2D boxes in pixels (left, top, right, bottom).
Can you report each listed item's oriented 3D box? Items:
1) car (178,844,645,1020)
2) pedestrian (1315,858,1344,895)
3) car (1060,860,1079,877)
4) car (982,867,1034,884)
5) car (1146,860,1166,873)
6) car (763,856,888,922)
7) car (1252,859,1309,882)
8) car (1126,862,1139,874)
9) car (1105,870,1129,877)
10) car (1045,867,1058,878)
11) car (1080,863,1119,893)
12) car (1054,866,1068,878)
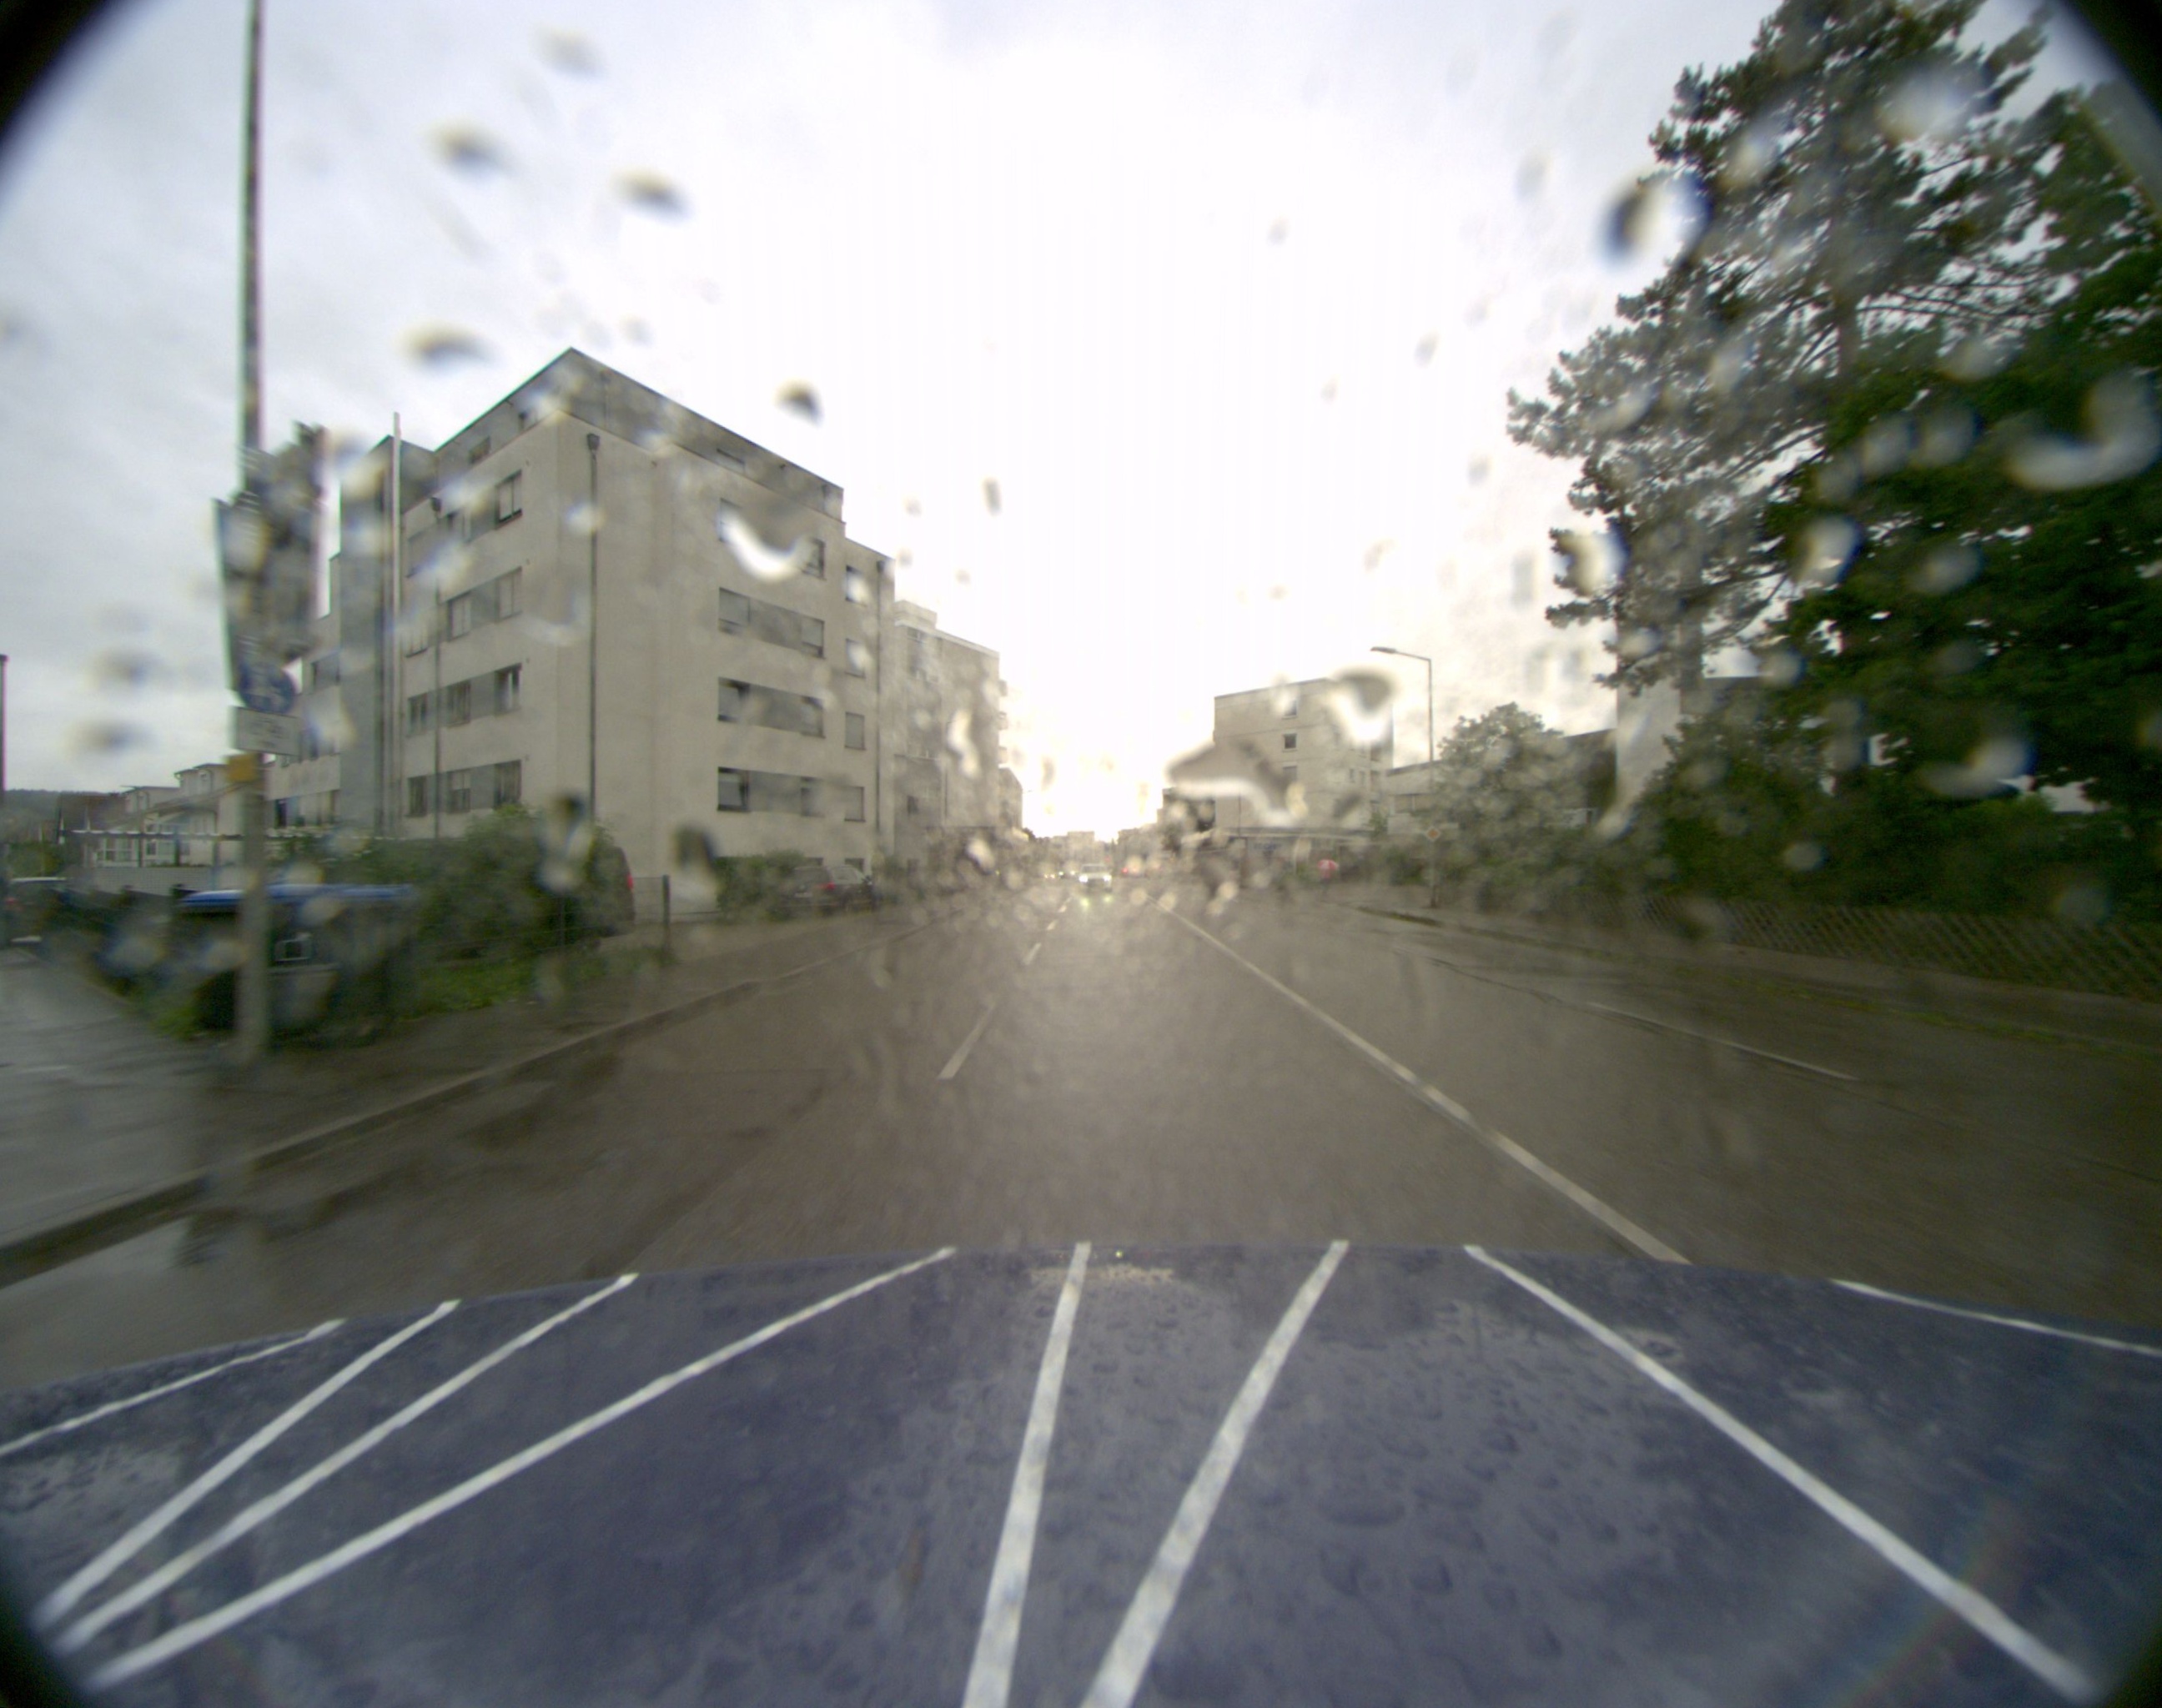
[{"bbox_3d":[-9.403,0.908,11.164,1.994,2.002,4.790,0,0,34],"label":"car"},{"bbox_3d":[11.107,0.990,33.995,0.872,1.597,1.102,-1,1,-6],"label":"pedestrian"},{"bbox_3d":[-1.389,1.800,94.328,1.998,2.001,4.002,0,-2,3],"label":"car"},{"bbox_3d":[-6.462,1.924,67.226,4.260,1.485,1.877,-2,-2,29],"label":"car"},{"bbox_3d":[8.563,1.400,86.652,1.702,1.400,4.000,2,-2,-1],"label":"car"},{"bbox_3d":[-7.474,0.957,22.781,1.998,1.775,4.692,0,0,2],"label":"car"},{"bbox_3d":[13.984,1.105,53.189,1.994,1.537,4.481,0,0,43],"label":"car"},{"bbox_3d":[7.018,1.967,103.129,1.806,1.547,4.321,-1,-2,4],"label":"car"},{"bbox_3d":[8.236,4.441,173.914,5.465,1.673,2.153,-2,-2,41],"label":"car"},{"bbox_3d":[-5.393,3.440,140.279,1.998,2.001,4.002,0,-2,2],"label":"car"},{"bbox_3d":[0.917,1.235,39.797,1.830,1.431,4.345,-1,-1,-1],"label":"car"},{"bbox_3d":[-3.157,2.889,121.407,1.998,2.001,4.002,0,-2,3],"label":"car"}]
